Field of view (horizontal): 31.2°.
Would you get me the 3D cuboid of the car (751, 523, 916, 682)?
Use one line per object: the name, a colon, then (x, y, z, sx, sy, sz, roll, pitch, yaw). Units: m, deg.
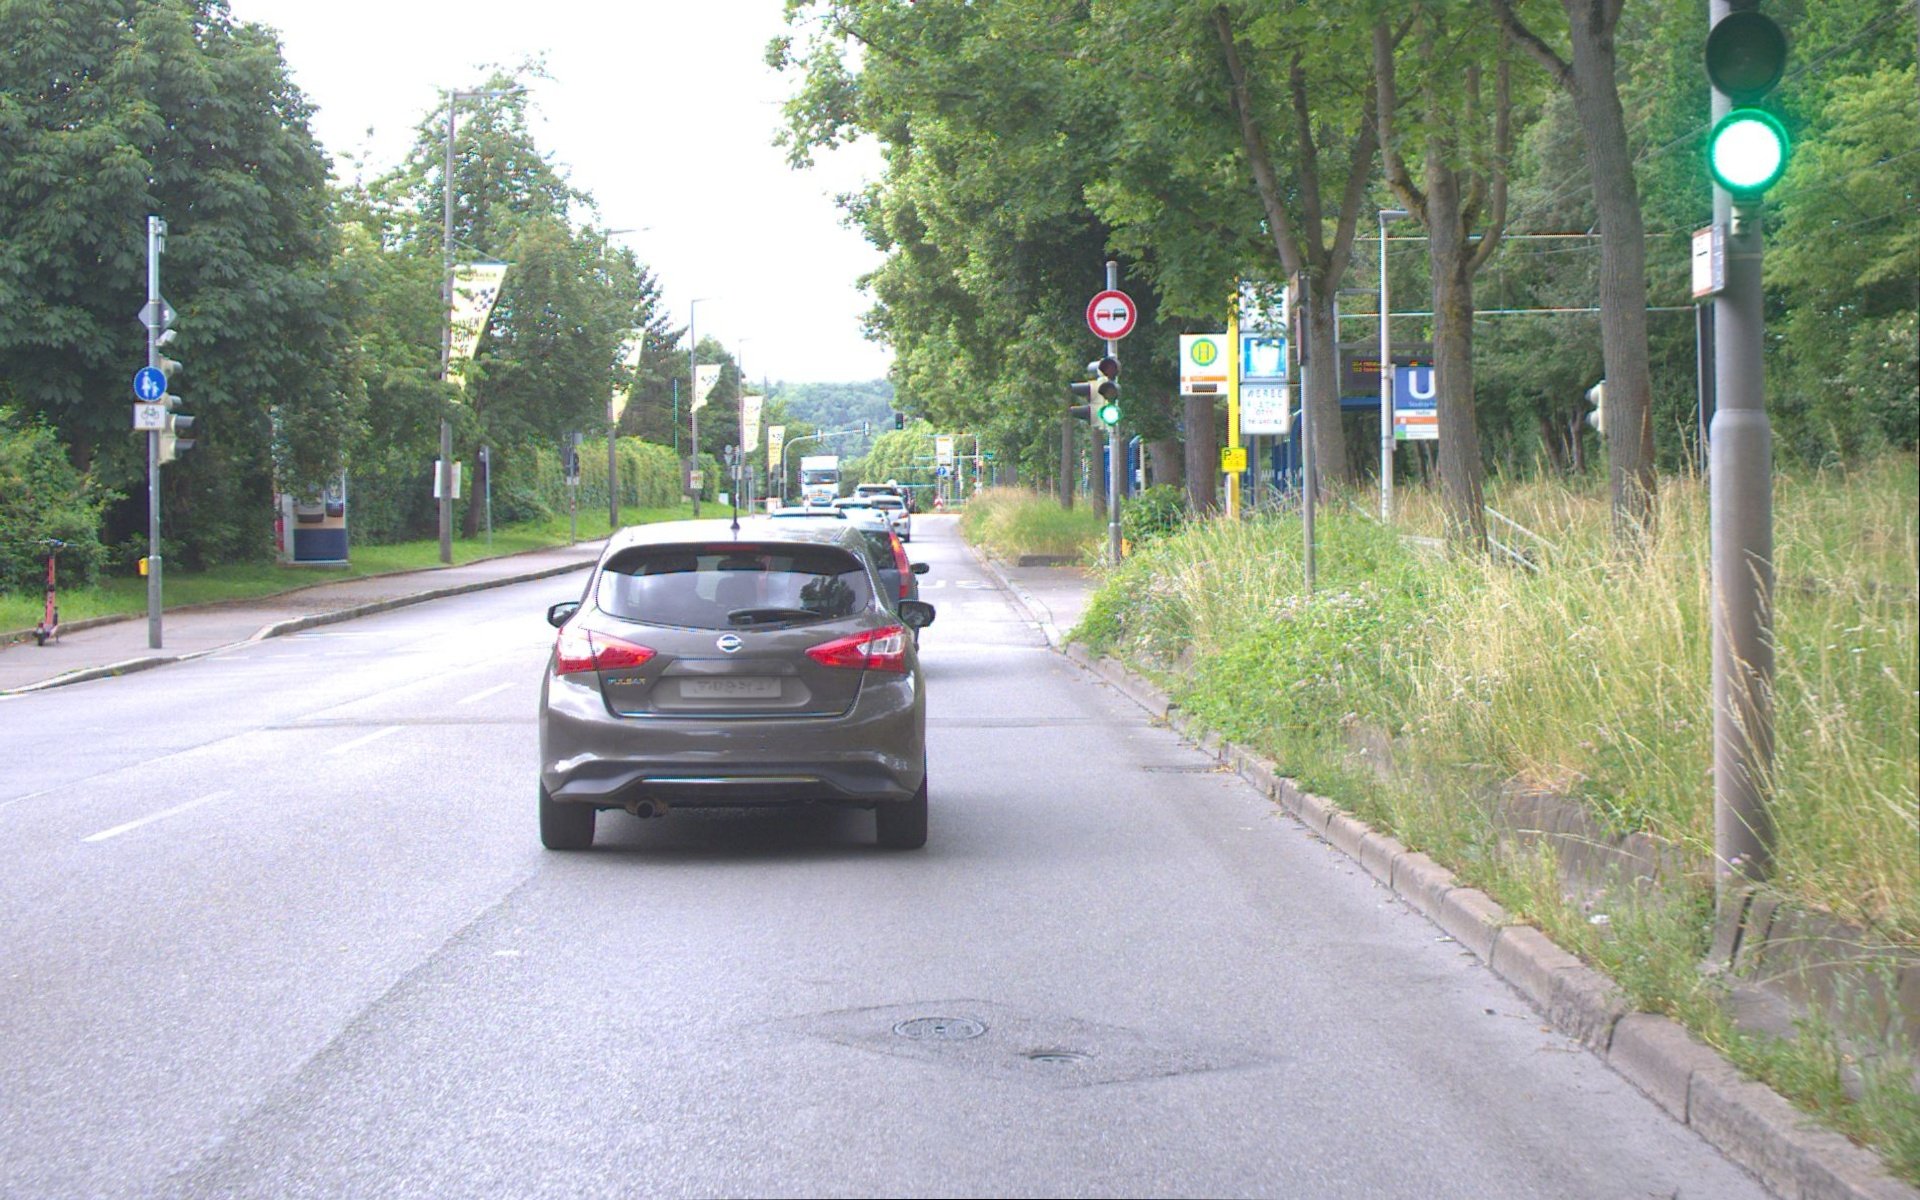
car: (-1.185, -0.021, 33.195, 1.502, 1.436, 3.542, 0, 1, -1)

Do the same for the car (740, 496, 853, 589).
car: (-2.588, -0.938, 55.045, 1.691, 1.436, 3.542, 0, 1, -1)

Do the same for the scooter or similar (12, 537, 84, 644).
scooter or similar: (-11.013, -0.125, 41.542, 0.462, 1.254, 1.426, 0, 1, 0)

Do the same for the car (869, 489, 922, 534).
car: (-2.071, -2.854, 111.094, 1.691, 1.436, 3.542, 0, 1, -1)

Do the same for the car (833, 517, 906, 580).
car: (-2.128, -1.234, 81.404, 1.691, 1.436, 3.542, 0, 1, -1)

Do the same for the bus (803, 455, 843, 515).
bus: (-9.382, -7.885, 236.374, 2.487, 4.012, 10.218, 0, 2, -1)

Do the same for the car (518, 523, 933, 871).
car: (-1.034, 0.386, 16.798, 1.783, 1.501, 3.696, 0, 1, 0)
